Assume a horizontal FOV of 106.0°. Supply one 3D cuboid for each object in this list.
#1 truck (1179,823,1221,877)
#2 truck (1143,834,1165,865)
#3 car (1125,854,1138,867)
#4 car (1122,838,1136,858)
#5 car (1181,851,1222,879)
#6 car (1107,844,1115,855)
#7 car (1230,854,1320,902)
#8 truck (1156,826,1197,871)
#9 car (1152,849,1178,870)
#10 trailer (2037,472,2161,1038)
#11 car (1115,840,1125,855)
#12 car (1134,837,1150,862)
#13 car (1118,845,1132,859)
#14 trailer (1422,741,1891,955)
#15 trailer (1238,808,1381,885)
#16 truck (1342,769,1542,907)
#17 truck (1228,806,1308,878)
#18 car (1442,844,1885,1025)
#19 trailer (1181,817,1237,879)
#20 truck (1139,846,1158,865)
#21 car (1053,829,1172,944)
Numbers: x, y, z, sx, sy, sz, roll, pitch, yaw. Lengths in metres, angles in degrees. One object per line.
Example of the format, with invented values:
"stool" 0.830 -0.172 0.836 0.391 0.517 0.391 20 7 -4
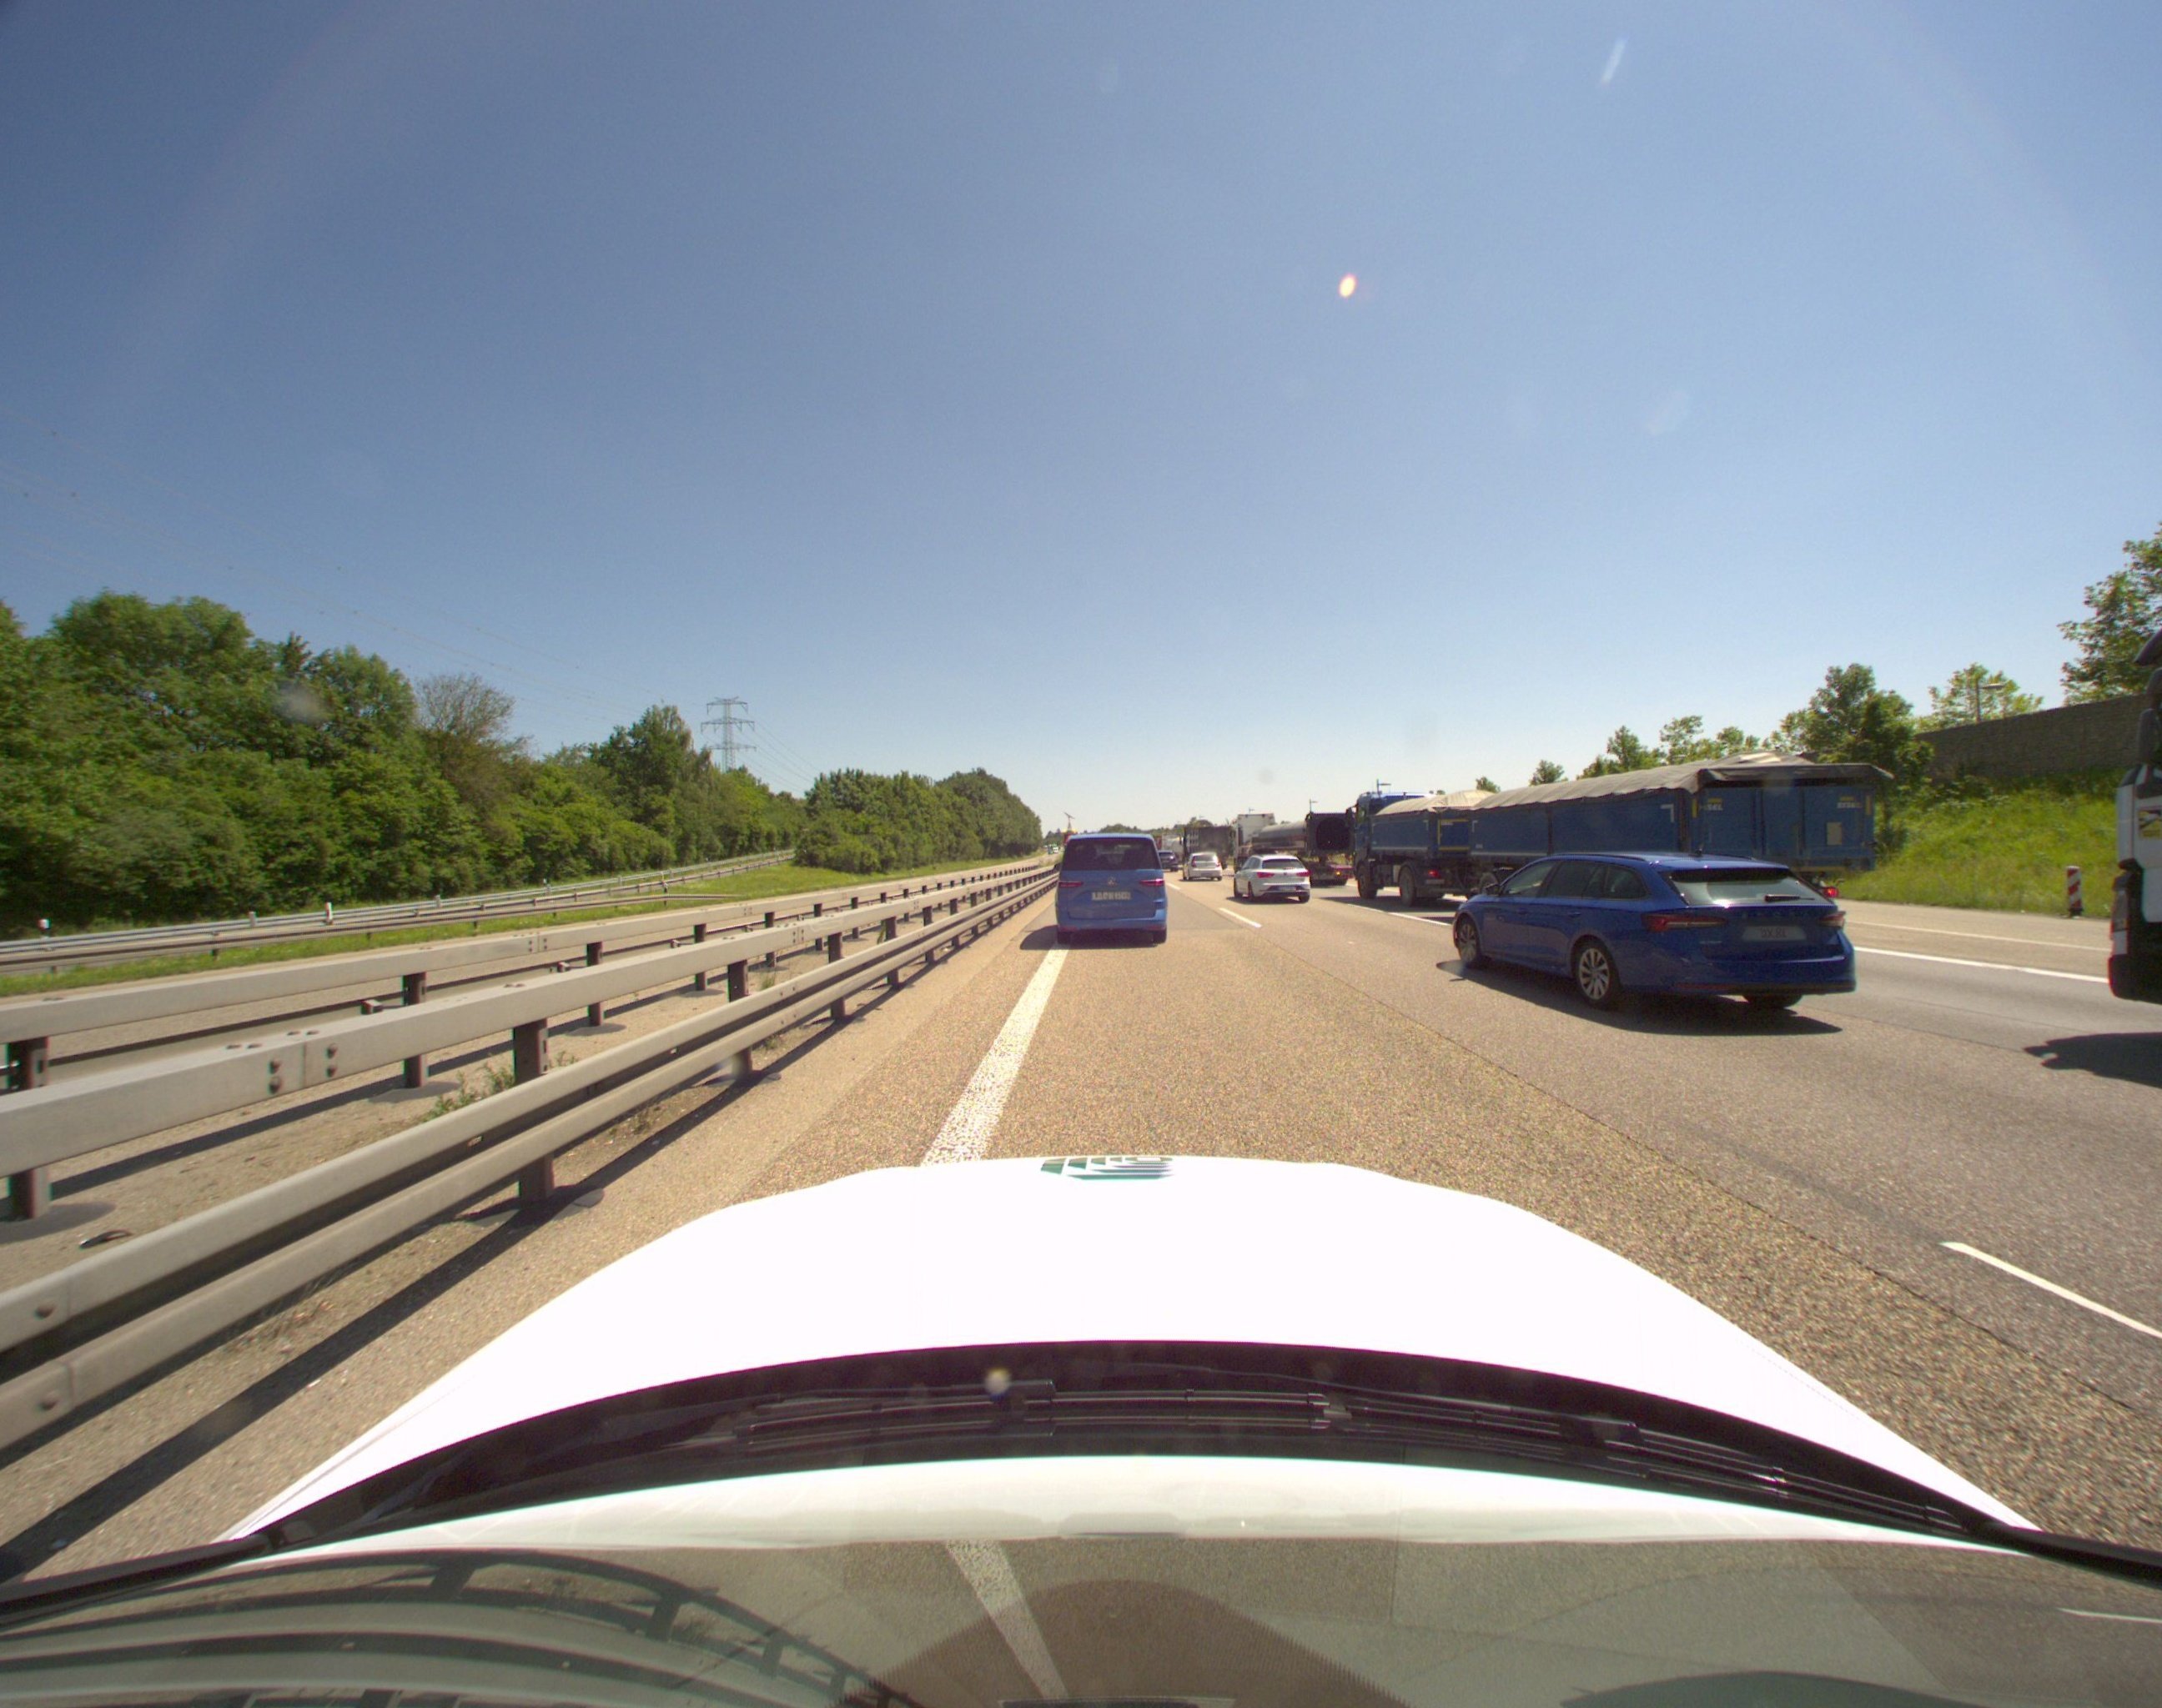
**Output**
"truck" 11.796 -0.328 81.258 3.644 5.180 5.712 0 -1 3
"truck" 12.346 -0.658 138.235 3.057 4.920 10.693 0 -1 2
"car" 8.452 1.121 136.063 1.986 2.014 4.001 0 -1 2
"car" 13.482 -1.667 229.079 3.209 5.257 8.140 0 -1 -1
"car" 6.487 0.604 44.009 1.833 1.454 4.003 0 -1 3
"car" 9.200 -1.477 250.273 2.476 3.204 7.375 0 -1 2
"car" 5.888 0.681 25.187 1.861 1.361 4.000 0 0 0
"truck" 11.692 -0.524 101.701 3.608 5.213 15.692 0 -1 1
"car" 6.515 0.451 63.594 1.774 1.524 4.001 0 -1 2
"trailer" 9.116 -0.708 3.360 2.914 4.044 6.413 0 0 1
"car" 12.443 -2.034 259.593 2.706 4.713 11.564 0 -1 2
"car" 13.198 -0.994 177.754 3.206 5.257 8.147 0 -1 2
"car" 8.835 -0.429 163.452 2.541 2.717 5.623 0 -1 2
"trailer" 9.595 -0.137 15.431 2.733 2.836 9.120 0 1 2
"trailer" 10.670 -0.201 40.544 3.630 3.079 15.786 0 -1 4
"truck" 9.850 -0.375 23.188 2.733 3.312 7.136 0 0 2
"truck" 11.315 -0.624 50.160 3.610 4.095 7.530 0 -1 3
"car" 5.628 0.673 8.721 1.699 1.441 4.429 0 -1 2
"trailer" 11.474 -0.422 74.363 3.631 5.136 13.084 0 -1 3
"truck" 6.907 0.193 84.027 1.719 1.857 4.001 0 -1 2
"car" 0.617 0.546 15.126 1.893 1.838 4.003 0 -1 3
